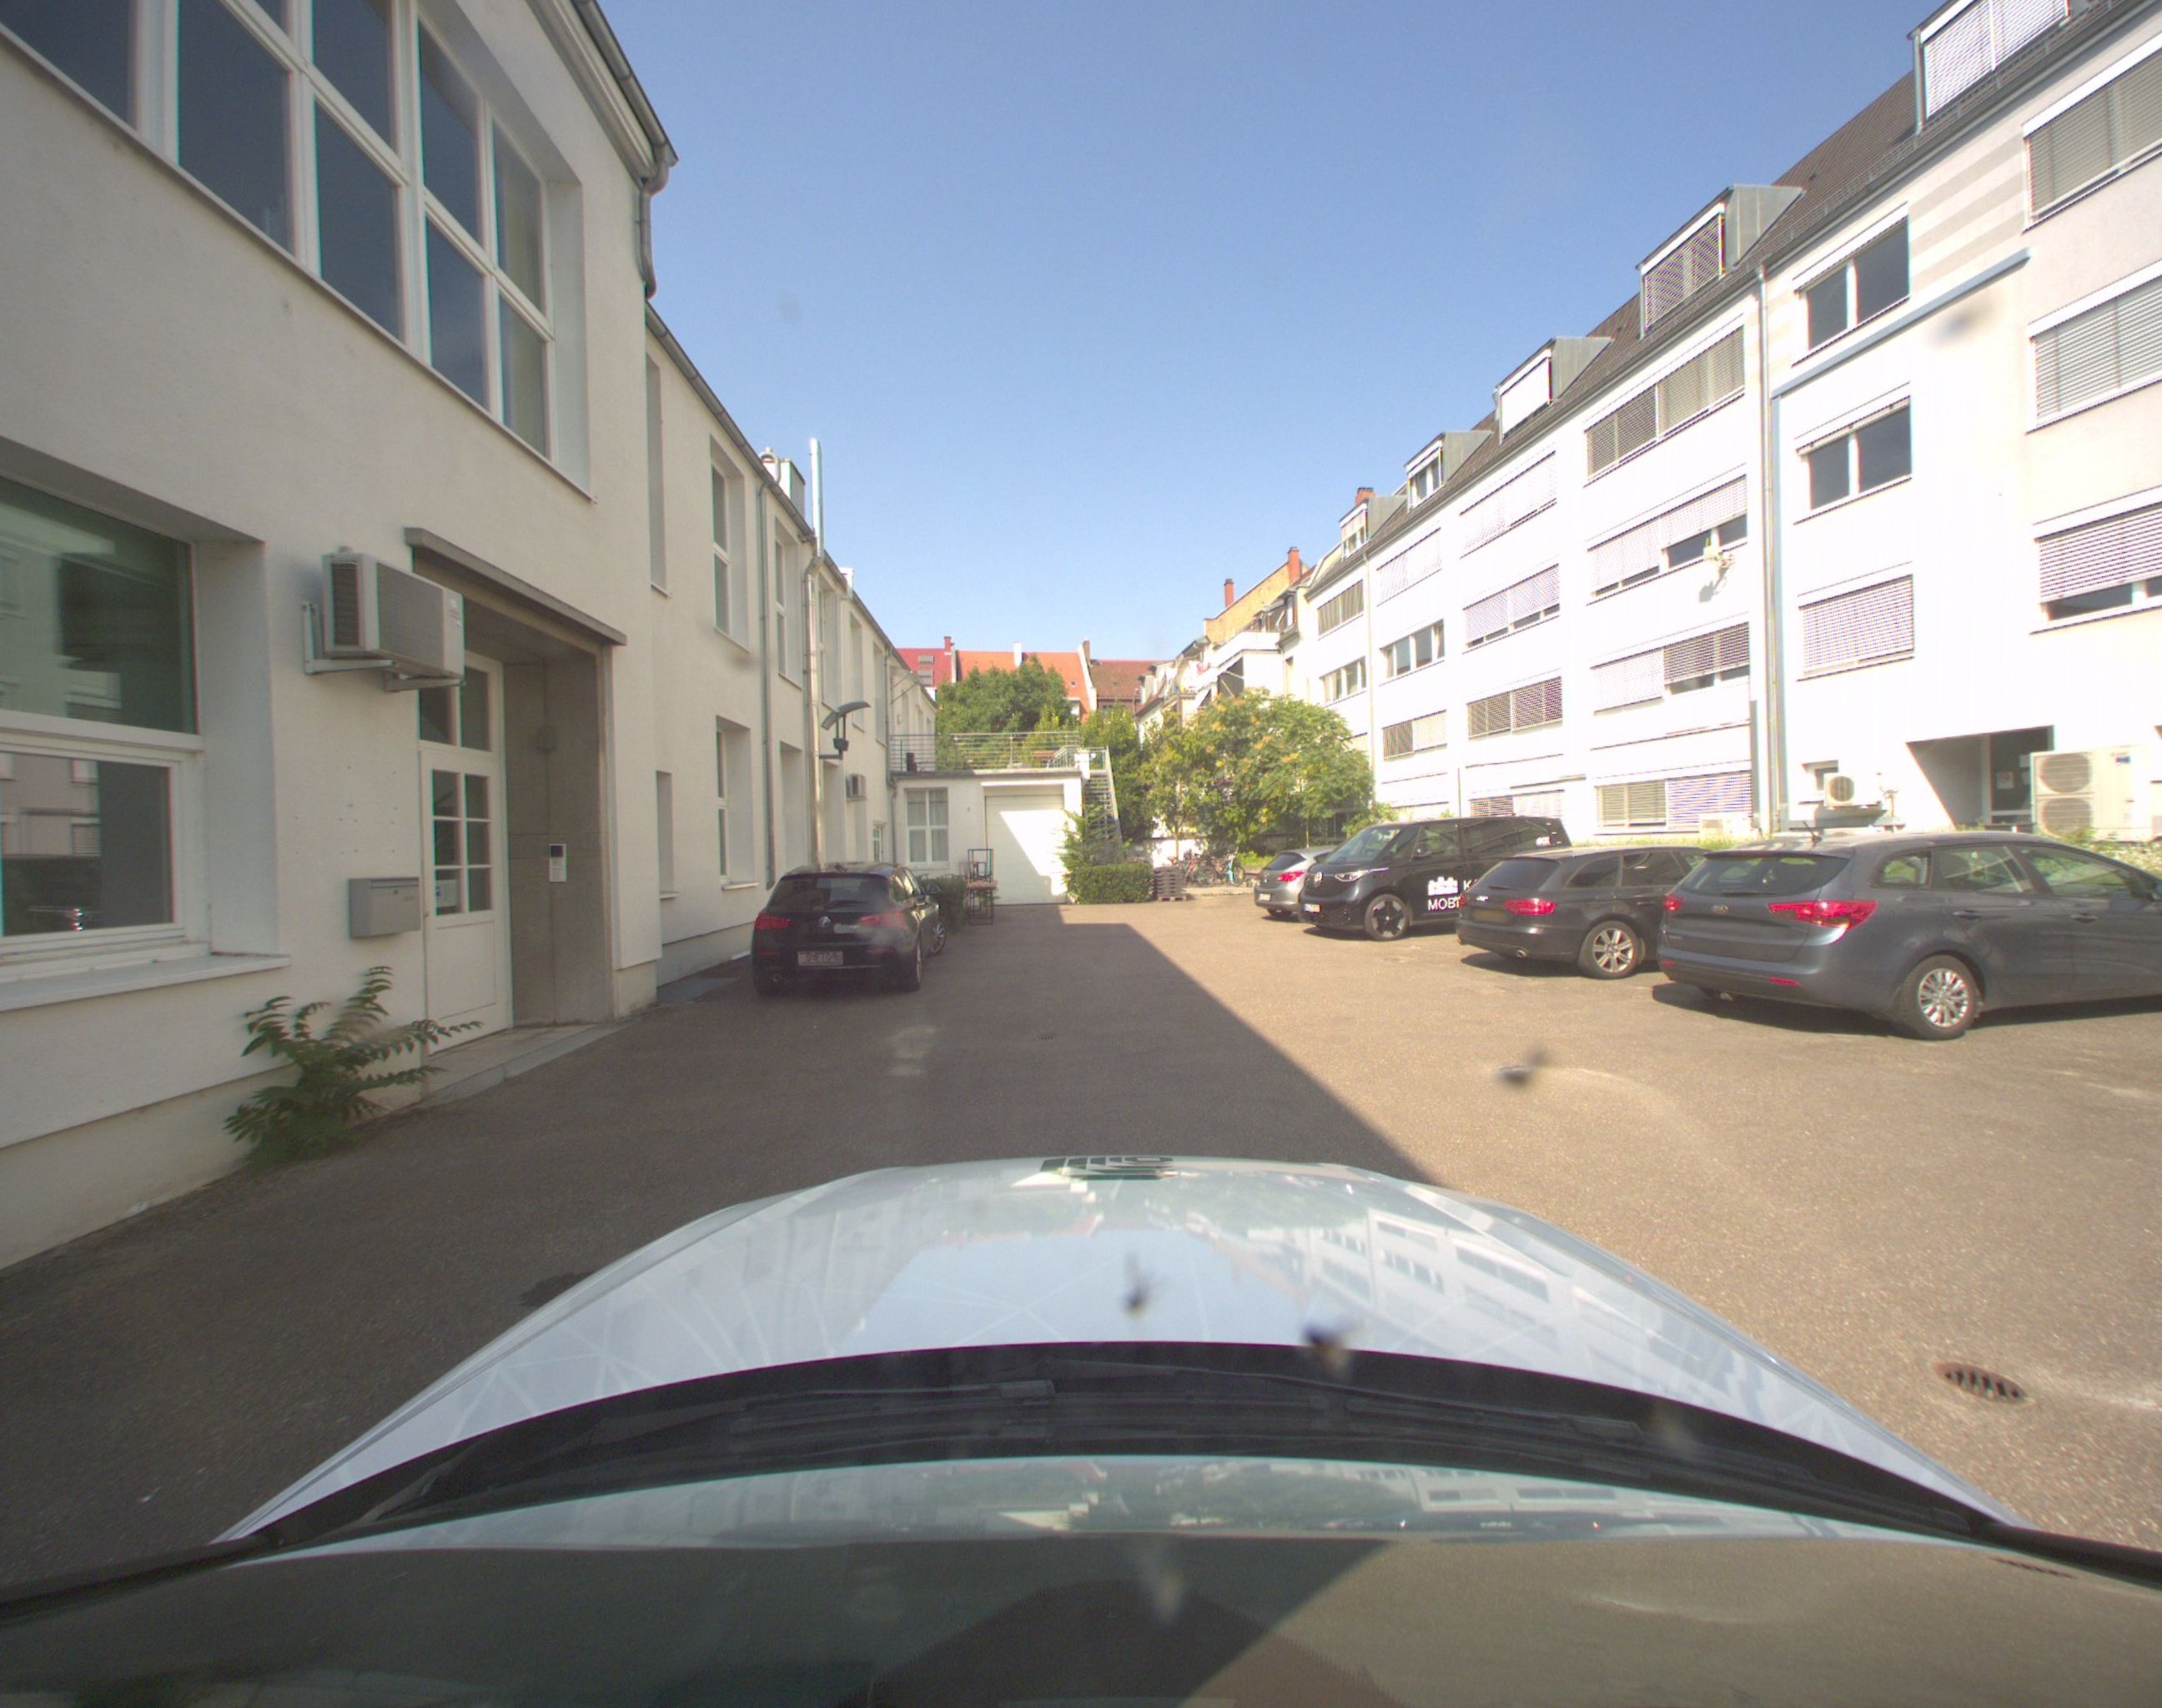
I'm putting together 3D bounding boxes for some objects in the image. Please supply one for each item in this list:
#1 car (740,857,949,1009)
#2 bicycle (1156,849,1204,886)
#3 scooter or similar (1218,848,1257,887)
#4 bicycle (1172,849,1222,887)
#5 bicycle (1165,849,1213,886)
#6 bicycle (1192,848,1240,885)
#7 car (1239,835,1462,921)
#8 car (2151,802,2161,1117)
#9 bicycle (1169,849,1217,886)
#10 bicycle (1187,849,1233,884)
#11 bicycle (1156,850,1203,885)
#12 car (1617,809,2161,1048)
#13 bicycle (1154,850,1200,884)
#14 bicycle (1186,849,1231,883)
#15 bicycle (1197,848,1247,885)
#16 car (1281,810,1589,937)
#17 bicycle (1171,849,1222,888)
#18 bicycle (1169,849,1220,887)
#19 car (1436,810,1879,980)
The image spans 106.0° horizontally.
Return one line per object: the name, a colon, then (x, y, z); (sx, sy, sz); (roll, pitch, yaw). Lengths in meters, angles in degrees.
car: (-2.671, 0.791, 10.102); (1.685, 1.459, 3.916); (-1, 0, -4)
bicycle: (3.575, 0.482, 29.322); (1.620, 1.214, 0.423); (-3, 0, -4)
scooter or similar: (5.205, 0.440, 27.066); (0.381, 1.261, 1.334); (-3, 0, -35)
bicycle: (3.918, 0.469, 27.555); (1.619, 1.214, 0.327); (-3, 0, -2)
bicycle: (3.794, 0.474, 28.658); (1.613, 1.214, 0.328); (-3, 0, 9)
bicycle: (4.832, 0.448, 29.117); (1.613, 1.214, 0.425); (-3, 0, 10)
car: (5.439, 0.460, 16.627); (3.936, 1.482, 1.767); (-2, -1, -13)
car: (7.485, 0.479, 3.629); (3.803, 1.589, 1.889); (-1, 0, -13)
bicycle: (3.889, 0.471, 28.299); (1.614, 1.214, 0.327); (-3, 0, 6)
bicycle: (4.705, 0.453, 29.686); (1.613, 1.214, 0.425); (-3, 0, 9)
bicycle: (3.629, 0.482, 29.960); (1.622, 1.214, 0.423); (-3, 0, -9)
car: (6.952, 0.488, 6.803); (3.860, 1.589, 1.874); (-1, 0, -8)
bicycle: (3.595, 0.484, 30.561); (1.622, 1.214, 0.423); (-3, 0, -8)
bicycle: (4.799, 0.452, 30.718); (1.613, 1.214, 0.425); (-3, 0, 9)
bicycle: (4.894, 0.445, 28.260); (1.612, 1.214, 0.328); (-3, 0, 11)
car: (5.903, 0.282, 13.768); (4.504, 1.794, 1.875); (-2, -1, -13)
bicycle: (3.867, 0.470, 27.231); (1.619, 1.214, 0.327); (-3, 0, -2)
bicycle: (3.875, 0.471, 27.847); (1.619, 1.214, 0.327); (-3, 0, -2)
car: (6.624, 0.423, 9.605); (4.111, 1.691, 1.767); (-1, 0, -6)
